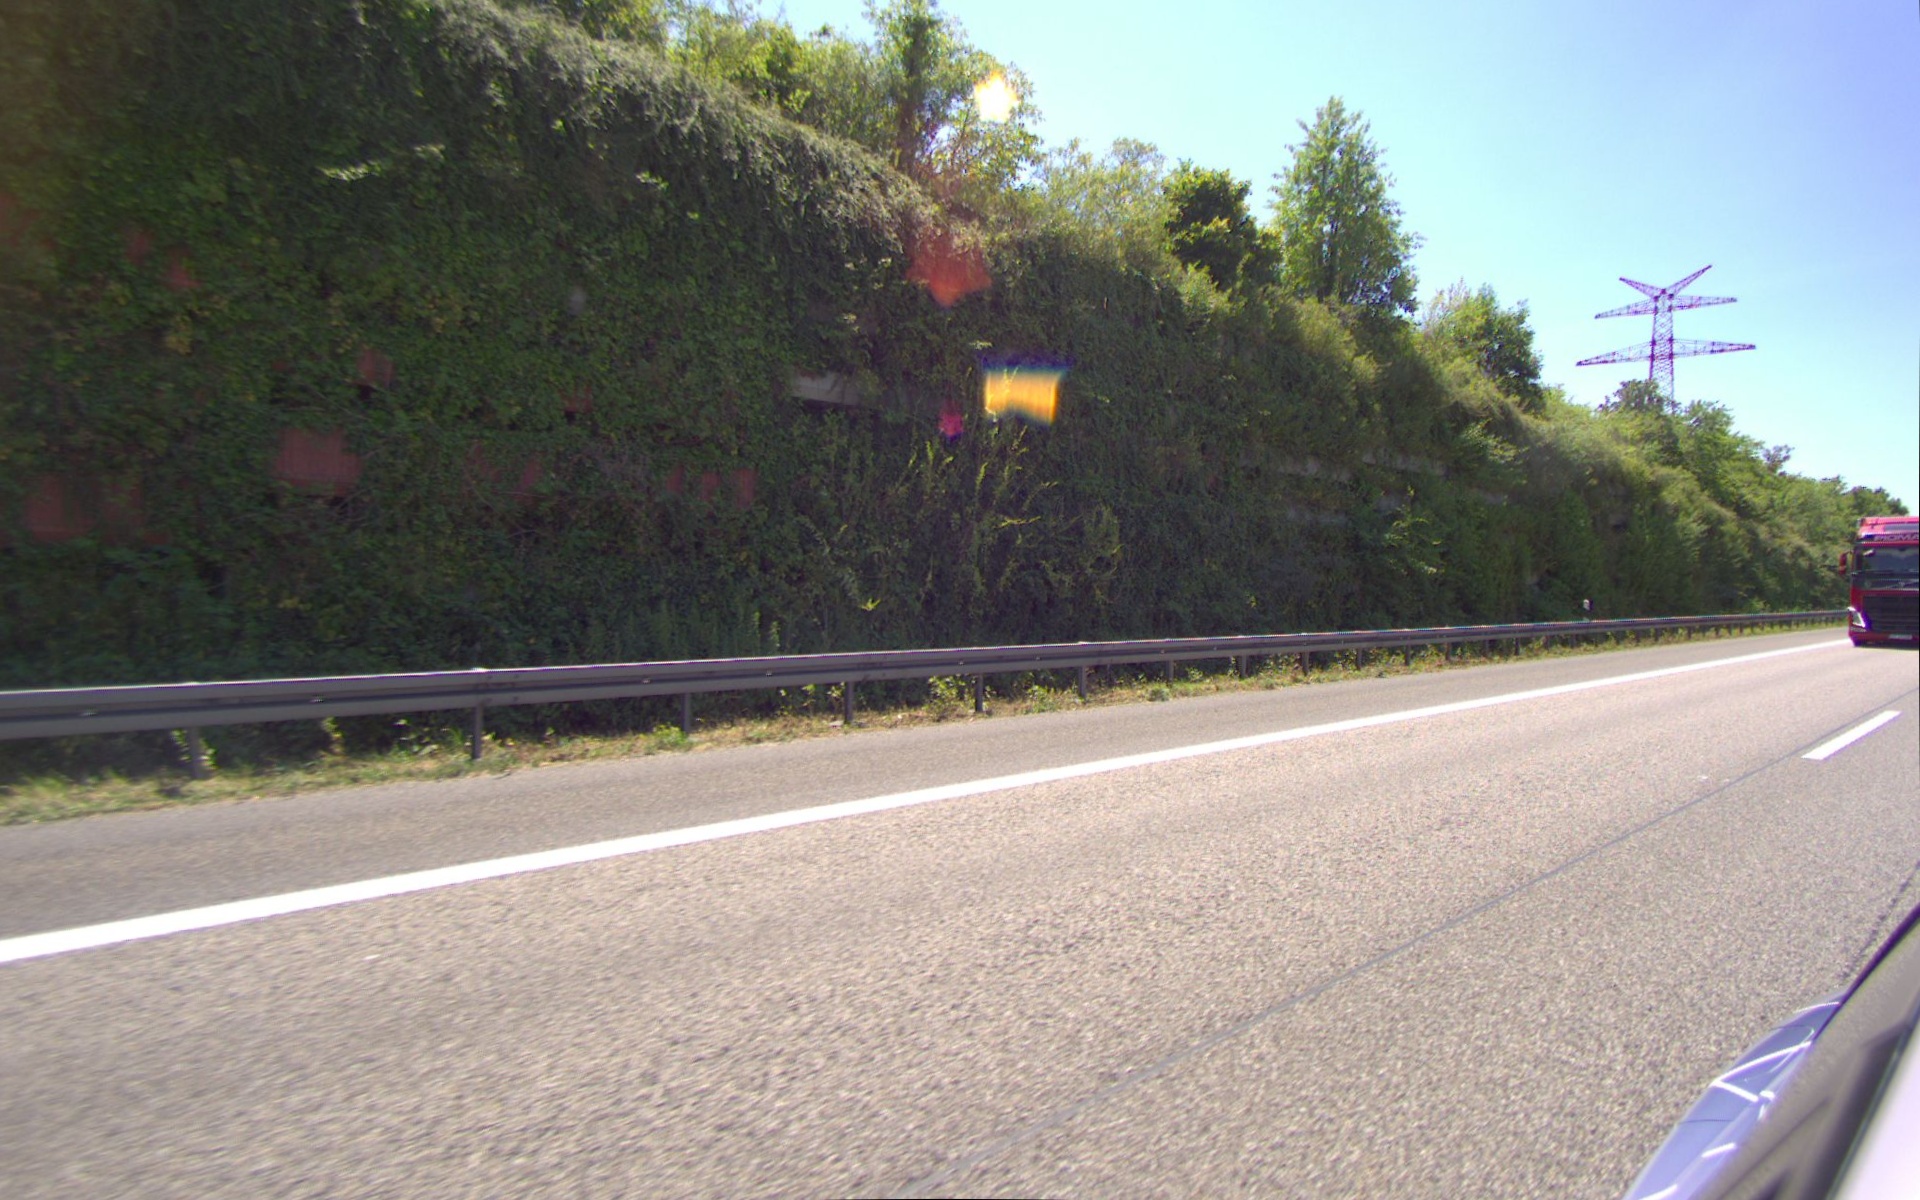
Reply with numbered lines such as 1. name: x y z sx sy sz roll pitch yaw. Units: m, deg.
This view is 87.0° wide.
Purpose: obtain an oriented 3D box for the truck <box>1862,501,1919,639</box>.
1. truck: 30.242 -0.874 31.473 6.974 3.969 2.503 0 0 -42

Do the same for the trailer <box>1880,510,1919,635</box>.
1. trailer: 35.675 -0.908 36.358 14.000 3.959 2.494 0 1 -42
